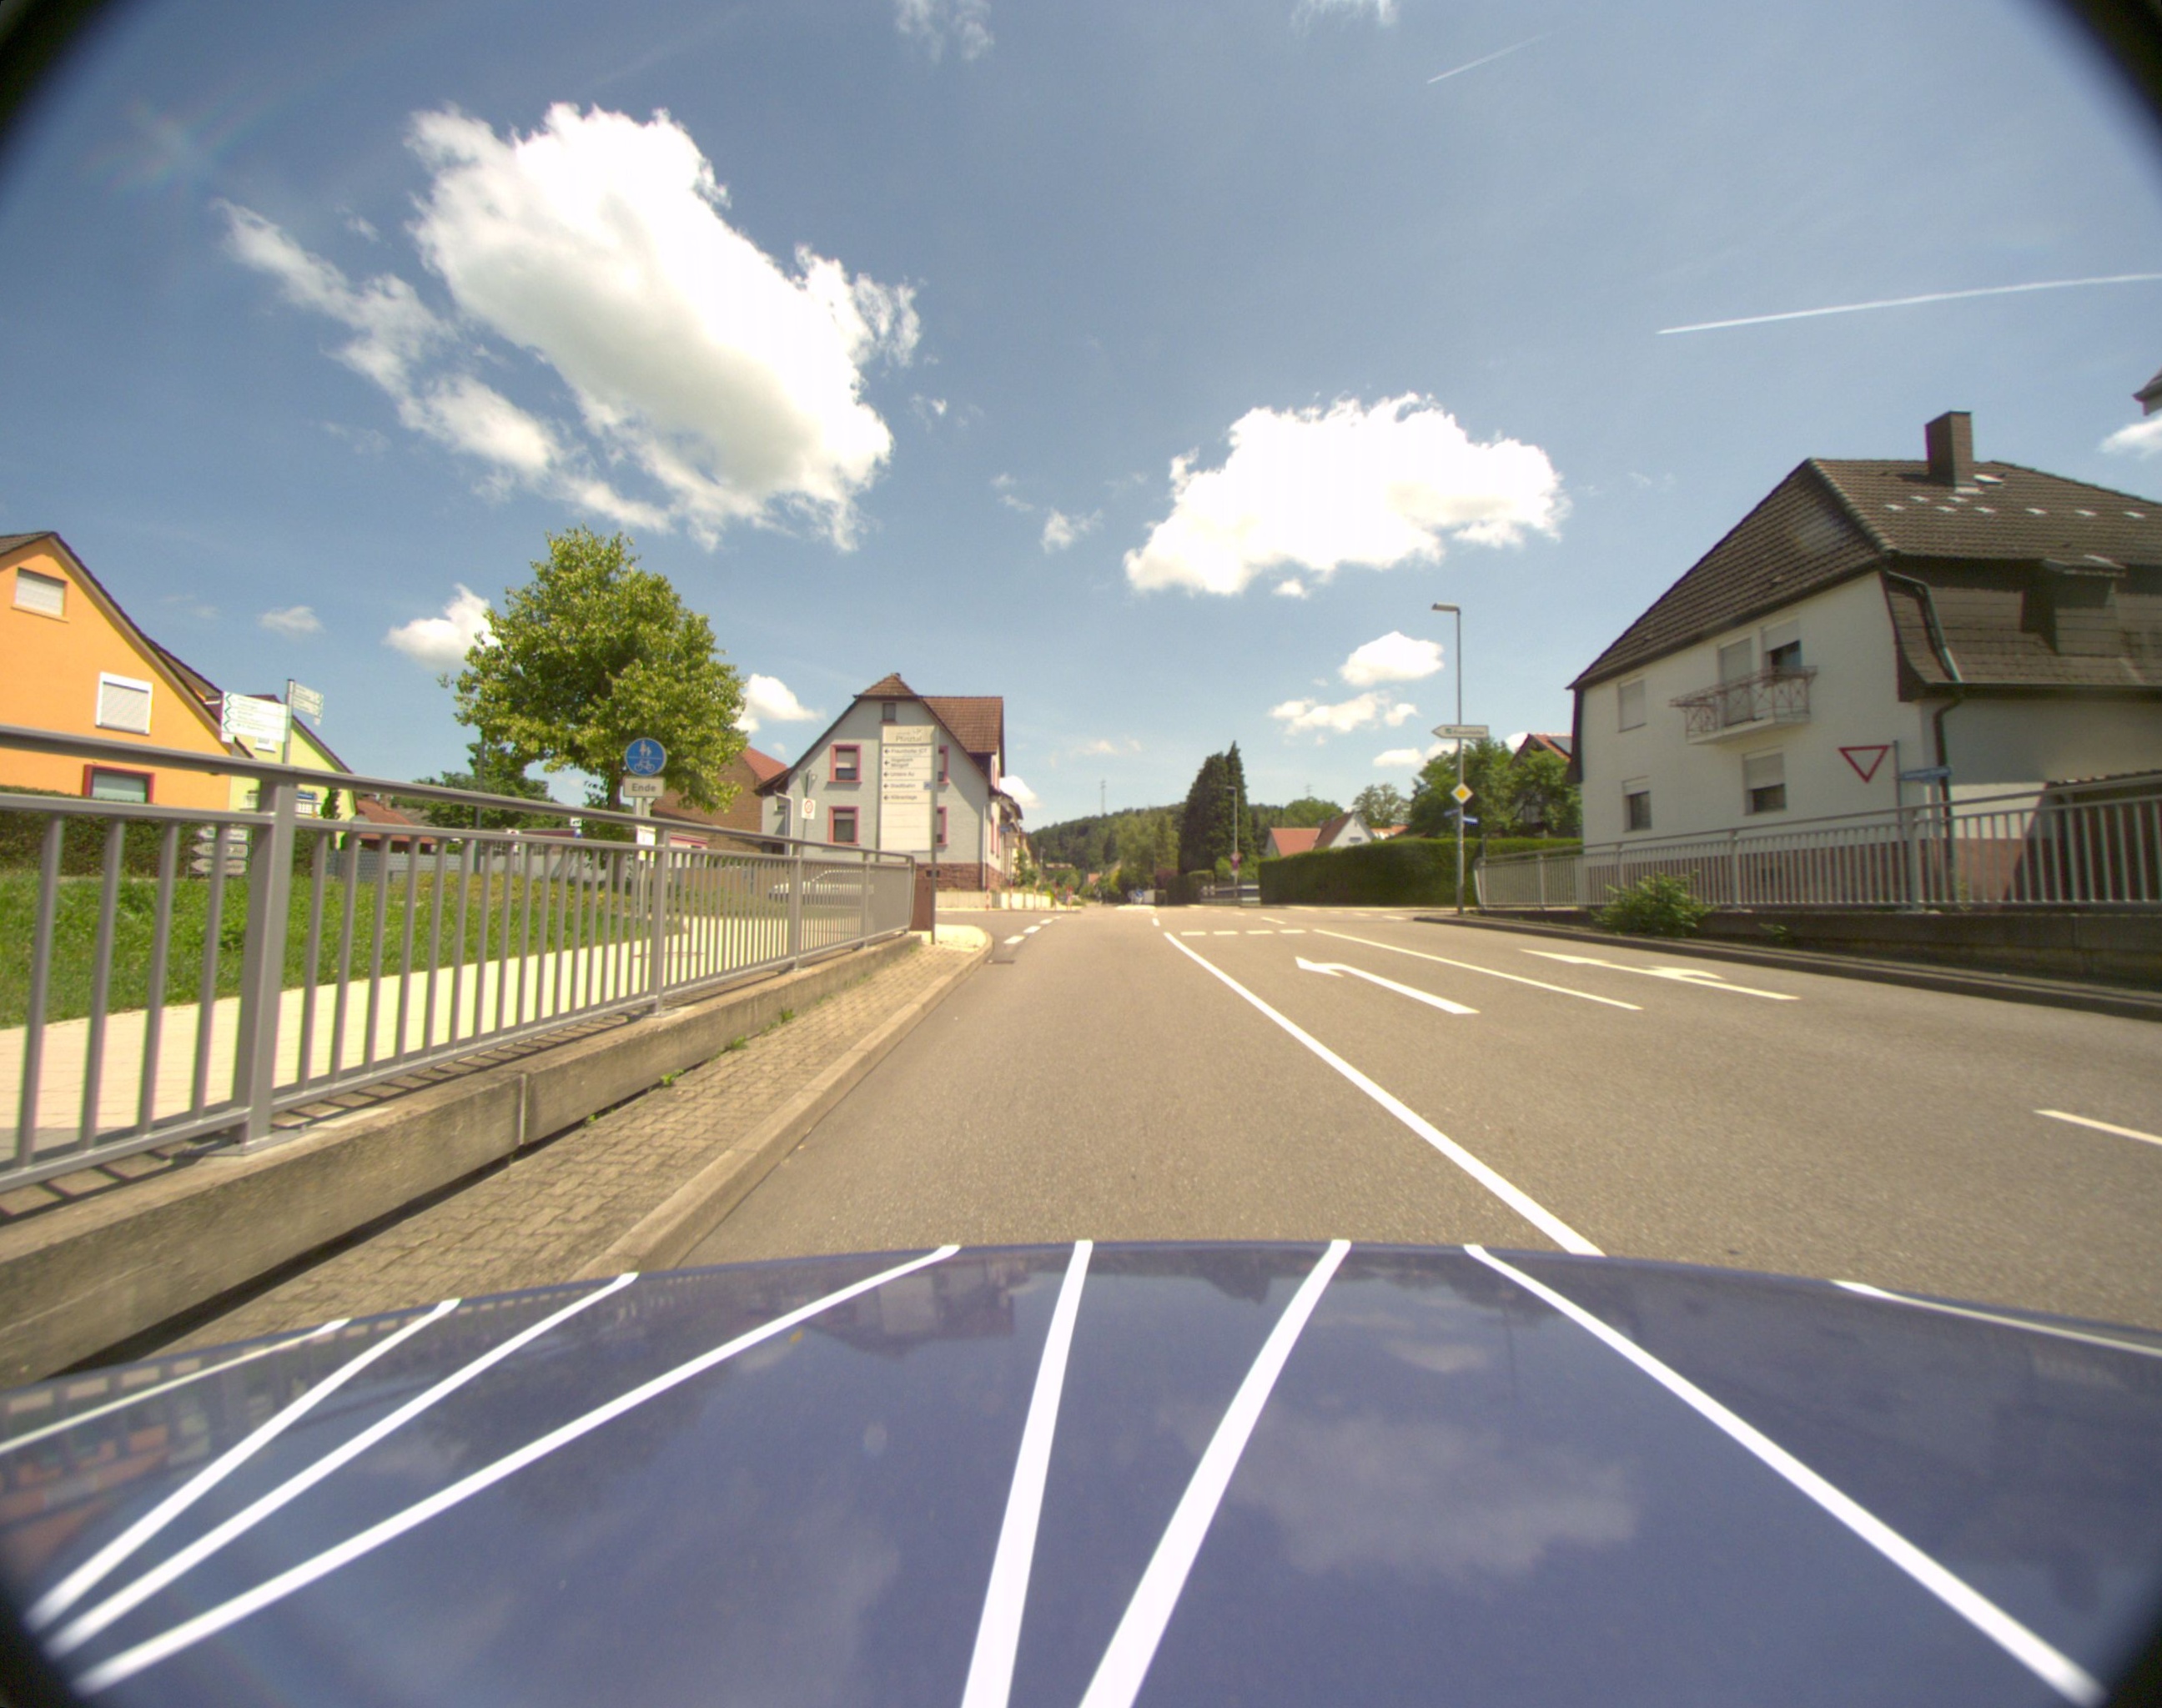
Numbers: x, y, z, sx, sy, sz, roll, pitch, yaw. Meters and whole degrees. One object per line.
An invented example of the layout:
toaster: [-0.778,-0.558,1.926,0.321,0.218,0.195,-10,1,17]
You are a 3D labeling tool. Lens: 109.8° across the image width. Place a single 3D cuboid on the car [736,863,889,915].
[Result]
car: [-9.309,1.240,26.683,4.833,1.632,1.682,-1,-4,-10]
